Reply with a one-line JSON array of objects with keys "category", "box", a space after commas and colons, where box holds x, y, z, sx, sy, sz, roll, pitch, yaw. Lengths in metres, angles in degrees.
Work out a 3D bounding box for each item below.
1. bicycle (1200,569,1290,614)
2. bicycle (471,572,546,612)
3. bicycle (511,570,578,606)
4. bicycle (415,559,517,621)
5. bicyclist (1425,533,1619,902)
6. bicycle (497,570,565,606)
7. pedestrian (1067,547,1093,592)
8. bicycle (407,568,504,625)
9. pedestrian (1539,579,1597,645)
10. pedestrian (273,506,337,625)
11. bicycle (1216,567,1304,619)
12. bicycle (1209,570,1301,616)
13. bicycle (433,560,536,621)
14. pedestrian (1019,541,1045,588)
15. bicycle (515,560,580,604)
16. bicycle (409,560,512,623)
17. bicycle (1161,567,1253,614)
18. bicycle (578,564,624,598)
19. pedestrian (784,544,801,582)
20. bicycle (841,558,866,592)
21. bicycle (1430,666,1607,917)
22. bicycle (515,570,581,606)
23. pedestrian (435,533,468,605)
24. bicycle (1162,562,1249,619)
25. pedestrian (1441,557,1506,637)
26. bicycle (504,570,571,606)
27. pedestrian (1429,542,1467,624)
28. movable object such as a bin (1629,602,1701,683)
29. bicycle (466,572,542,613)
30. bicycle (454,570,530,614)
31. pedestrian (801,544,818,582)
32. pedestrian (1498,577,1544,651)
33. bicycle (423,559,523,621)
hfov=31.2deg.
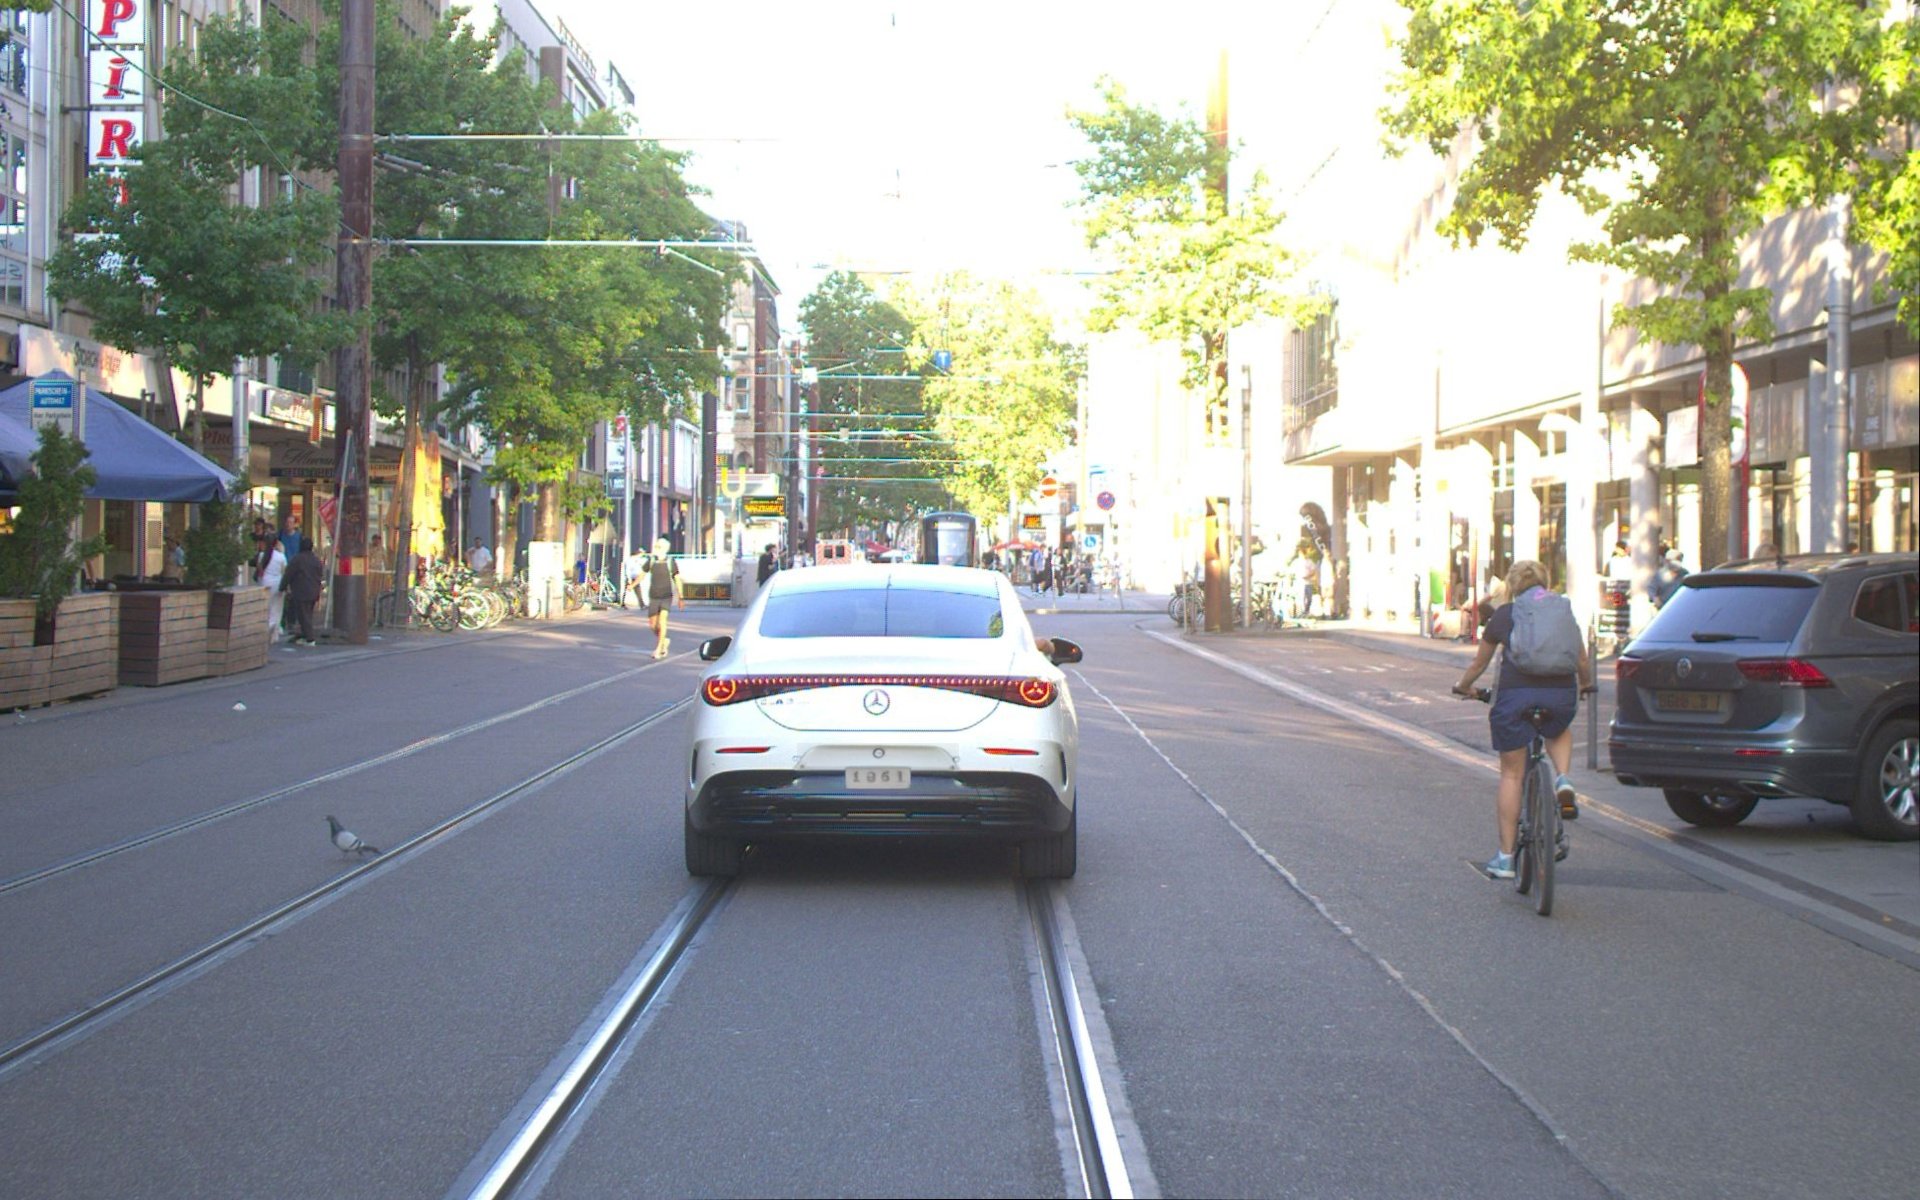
[{"category": "bicycle", "box": [7.000, -0.203, 84.547, 2.113, 1.092, 0.610, 0, 0, -11]}, {"category": "bicycle", "box": [-9.434, -0.165, 71.785, 1.493, 0.780, 0.344, 2, 1, 2]}, {"category": "bicycle", "box": [-9.673, -0.276, 80.094, 1.493, 0.780, 0.344, 2, 1, 2]}, {"category": "bicycle", "box": [-9.030, -0.178, 62.856, 1.788, 1.073, 0.377, 2, 1, -4]}, {"category": "bicyclist", "box": [2.573, 0.516, 15.766, 0.778, 1.607, 0.912, 3, 1, 9]}, {"category": "bicycle", "box": [-9.815, -0.280, 78.658, 1.493, 0.780, 0.344, 2, 1, 2]}, {"category": "pedestrian", "box": [4.796, -1.210, 137.216, 0.960, 1.779, 0.804, -1, 1, 0]}, {"category": "bicycle", "box": [-8.748, -0.066, 59.640, 1.596, 0.927, 0.377, 2, 1, 7]}, {"category": "pedestrian", "box": [9.812, 0.191, 55.479, 0.836, 1.027, 0.696, 1, 1, 5]}, {"category": "pedestrian", "box": [-10.868, -0.584, 57.034, 0.800, 1.917, 1.071, 3, 1, -3]}, {"category": "bicycle", "box": [6.919, -0.172, 79.223, 1.907, 1.152, 0.610, -1, 1, -11]}, {"category": "bicycle", "box": [7.069, -0.162, 82.347, 2.113, 1.092, 0.610, 0, 0, -12]}, {"category": "bicycle", "box": [-8.857, -0.173, 64.080, 1.846, 1.073, 0.377, 2, 1, -4]}, {"category": "pedestrian", "box": [2.805, -1.383, 133.409, 0.960, 1.779, 0.804, -1, 1, 0]}, {"category": "bicycle", "box": [-9.765, -0.429, 81.421, 1.492, 1.006, 0.345, 2, 1, -10]}, {"category": "bicycle", "box": [-9.061, -0.160, 62.366, 1.788, 1.073, 0.377, 2, 1, -4]}, {"category": "bicycle", "box": [5.957, -0.227, 83.025, 2.113, 1.092, 0.610, 1, 0, -11]}, {"category": "bicycle", "box": [-10.744, -0.579, 103.066, 0.719, 1.006, 2.038, 1, 1, 14]}, {"category": "pedestrian", "box": [-6.950, -1.547, 142.885, 0.660, 1.593, 0.573, 0, 1, -1]}, {"category": "bicycle", "box": [-3.730, -0.867, 120.122, 0.800, 1.138, 2.257, 2, 1, -1]}, {"category": "bicycle", "box": [2.594, 0.851, 15.995, 0.719, 0.992, 2.058, 3, 1, 9]}, {"category": "bicycle", "box": [-9.640, -0.286, 80.463, 1.493, 0.780, 0.344, 2, 1, 2]}, {"category": "pedestrian", "box": [-11.697, -0.711, 79.147, 0.714, 1.634, 0.685, 0, 1, -6]}, {"category": "bicycle", "box": [5.714, -0.230, 80.042, 1.907, 1.277, 0.610, -1, 1, -11]}, {"category": "pedestrian", "box": [9.016, -0.052, 60.382, 0.833, 1.372, 0.778, 1, 1, -22]}, {"category": "bicycle", "box": [-9.796, -0.272, 79.732, 1.493, 0.780, 0.344, 2, 1, 2]}, {"category": "pedestrian", "box": [9.936, -0.352, 70.011, 0.637, 1.647, 0.781, 1, 1, 1]}, {"category": "movable object such as a bin", "box": [8.461, 0.506, 41.288, 0.690, 0.921, 0.718, 2, 1, 1]}, {"category": "bicycle", "box": [-9.440, -0.159, 71.156, 1.493, 0.780, 0.344, 2, 1, 2]}, {"category": "bicycle", "box": [-9.591, -0.162, 70.480, 1.493, 0.838, 0.344, 2, 1, 2]}, {"category": "pedestrian", "box": [-6.261, -1.536, 142.949, 0.660, 1.593, 0.573, 0, 1, -1]}, {"category": "pedestrian", "box": [9.277, 0.223, 56.831, 0.666, 1.194, 0.784, 1, 1, 5]}, {"category": "bicycle", "box": [-9.437, -0.188, 66.662, 1.846, 1.137, 0.377, 2, 1, 2]}]
